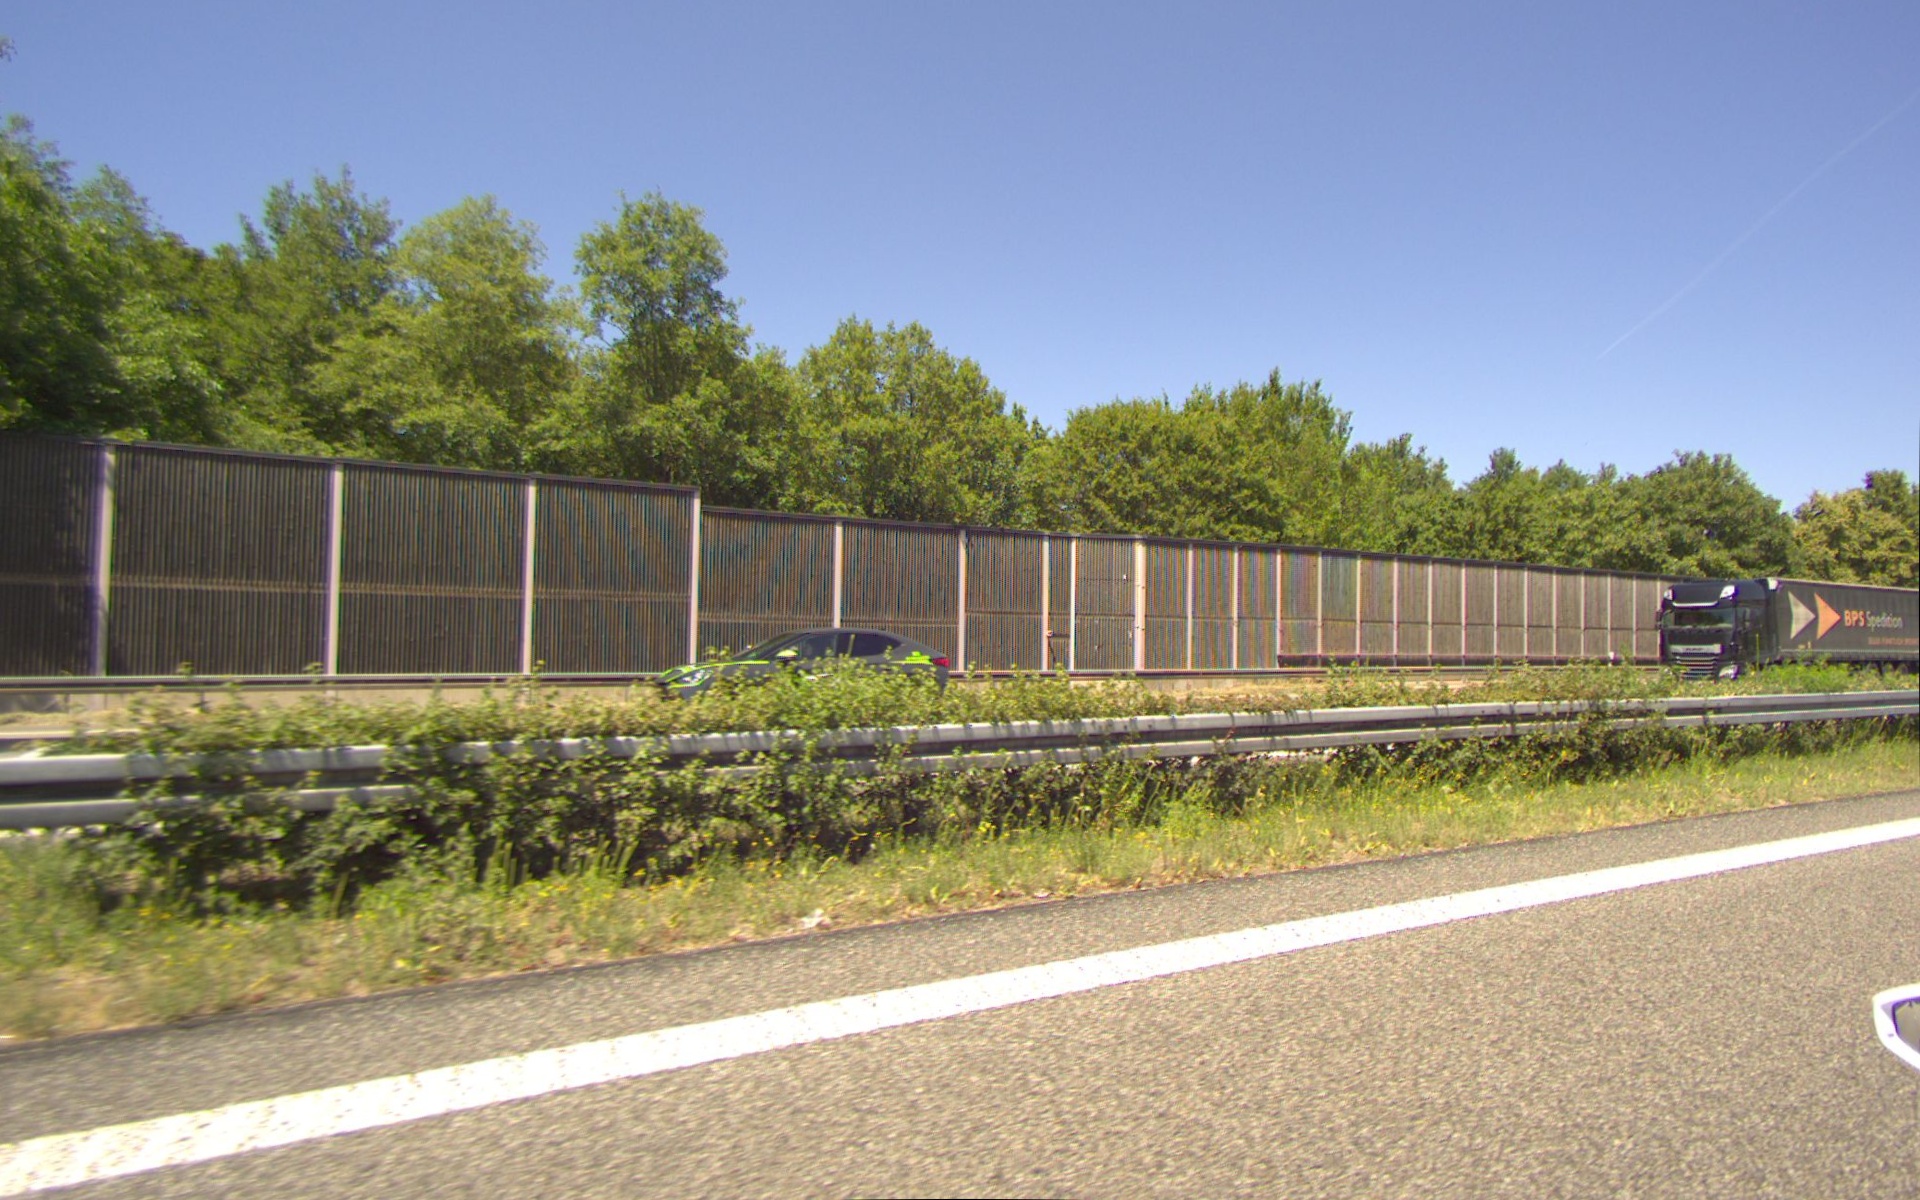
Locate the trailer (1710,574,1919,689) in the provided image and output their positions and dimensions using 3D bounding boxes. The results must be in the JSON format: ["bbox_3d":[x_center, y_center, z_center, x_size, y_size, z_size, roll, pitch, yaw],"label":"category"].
[{"bbox_3d":[35.252,1.350,40.407,13.719,4.139,2.717,2,-2,-29],"label":"trailer"}]

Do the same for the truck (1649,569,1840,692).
[{"bbox_3d":[28.898,1.156,36.918,7.742,4.139,2.717,2,-2,-29],"label":"truck"}]

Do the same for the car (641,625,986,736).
[{"bbox_3d":[-2.169,1.150,15.266,4.821,1.451,1.951,2,-2,-29],"label":"car"}]
